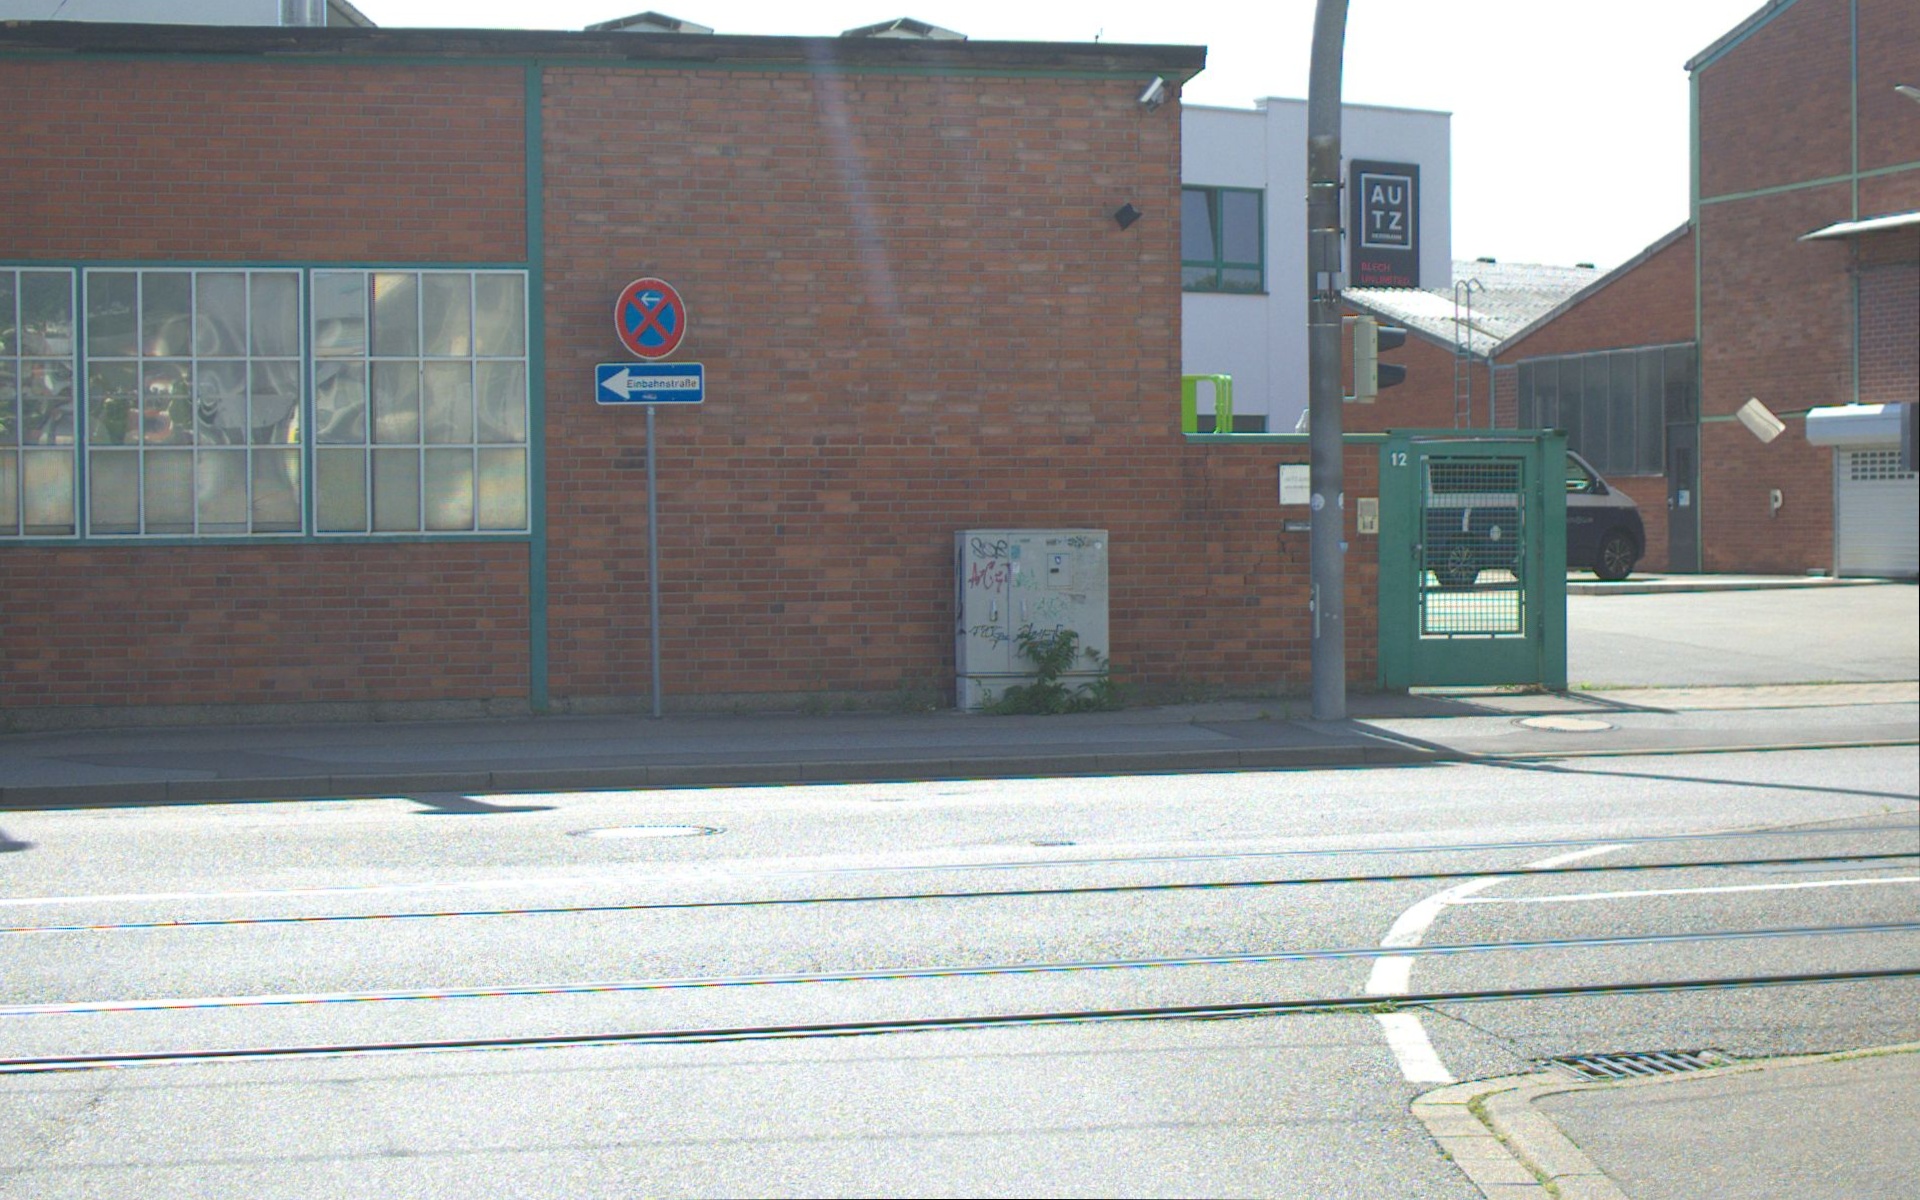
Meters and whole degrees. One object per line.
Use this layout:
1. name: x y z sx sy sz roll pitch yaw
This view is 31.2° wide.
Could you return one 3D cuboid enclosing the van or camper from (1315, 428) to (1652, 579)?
1. van or camper: 7.224 -1.310 47.282 4.407 1.894 2.000 1 1 -36
